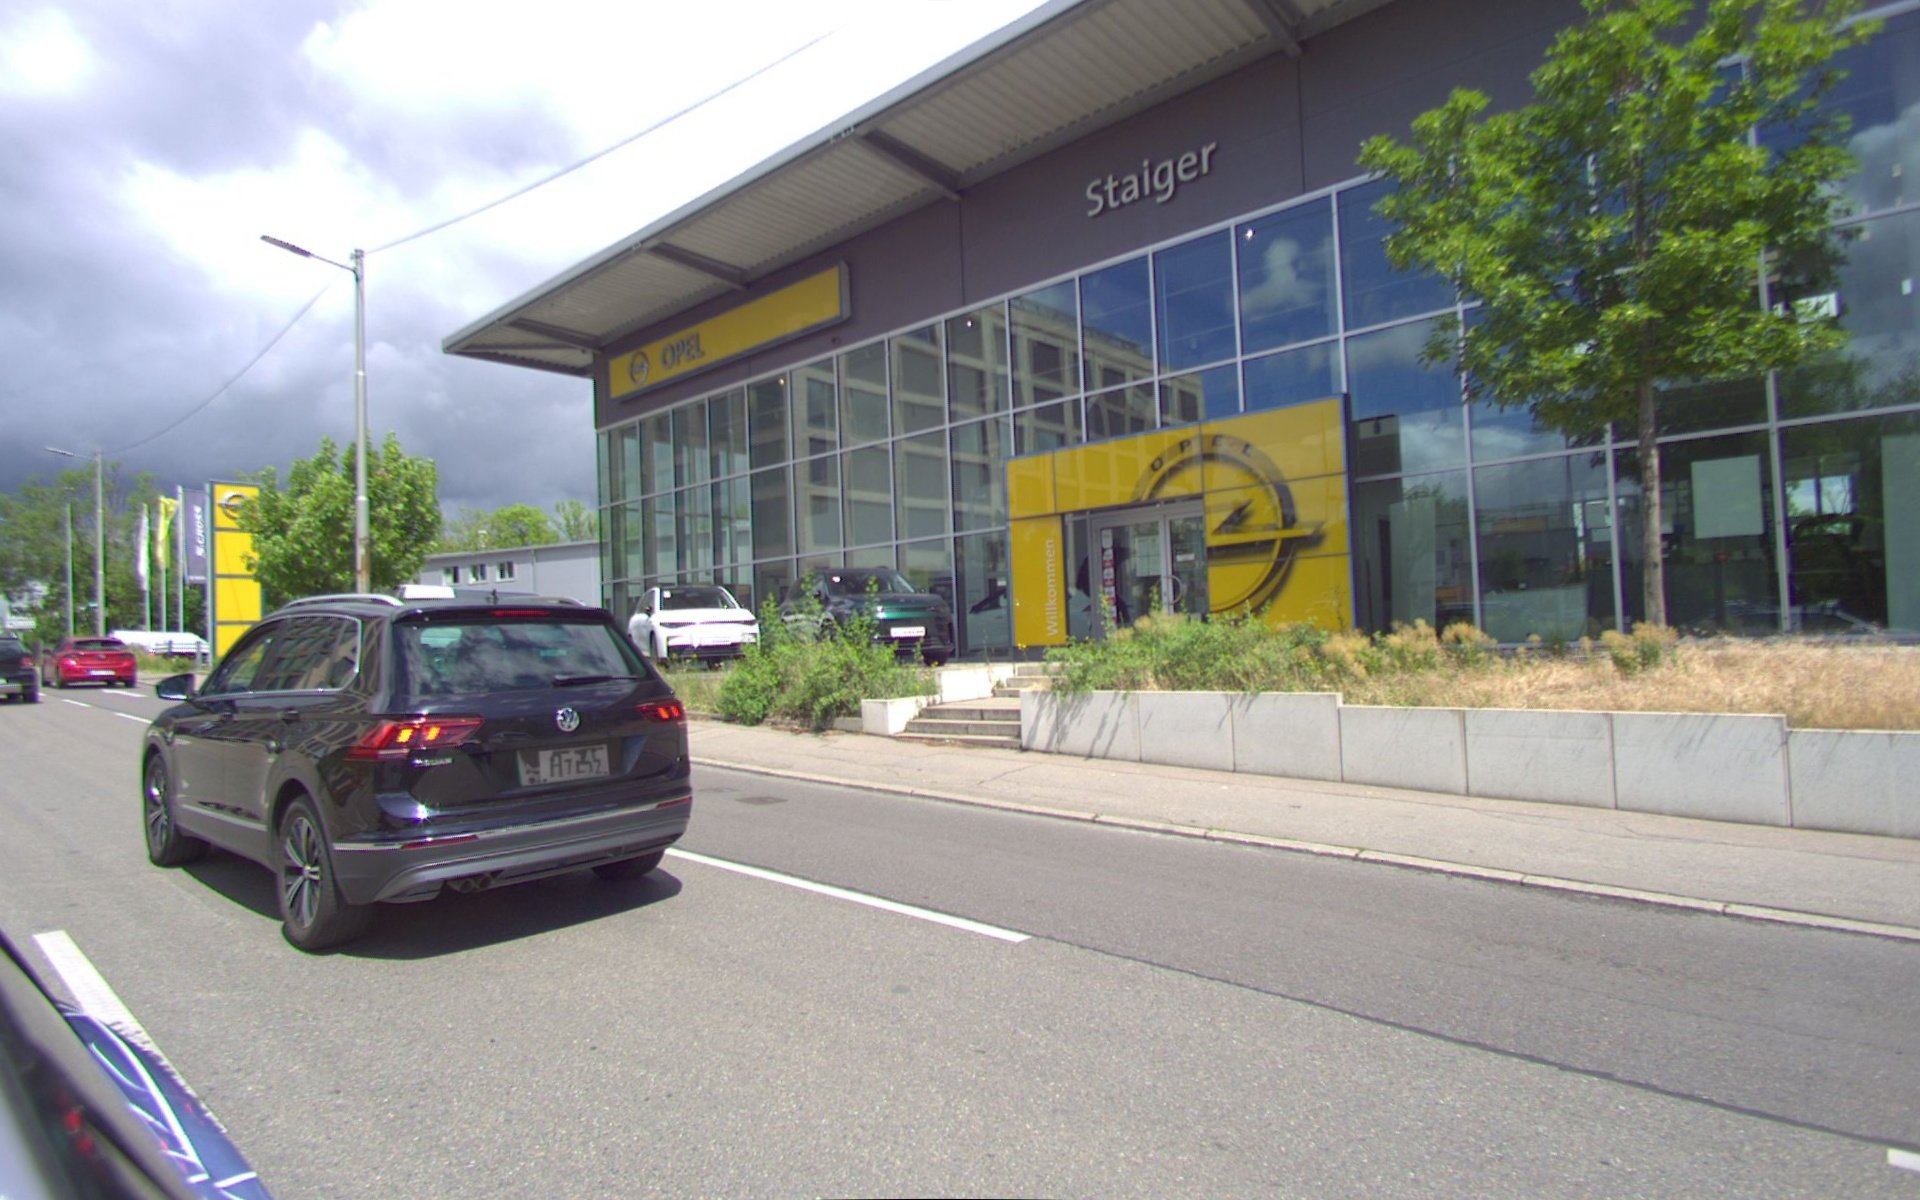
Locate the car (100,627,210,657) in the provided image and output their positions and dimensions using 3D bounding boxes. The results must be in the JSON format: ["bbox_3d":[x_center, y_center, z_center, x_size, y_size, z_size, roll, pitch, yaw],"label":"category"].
[{"bbox_3d":[-42.641,2.200,53.679,2.093,1.493,4.199,-2,-2,39],"label":"car"}]

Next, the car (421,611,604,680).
[{"bbox_3d":[-11.488,1.141,26.232,1.792,1.625,4.063,-1,-2,32],"label":"car"}]

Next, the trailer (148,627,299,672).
[{"bbox_3d":[-31.053,2.051,42.798,2.092,1.765,4.776,-2,-2,37],"label":"trailer"}]

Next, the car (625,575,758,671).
[{"bbox_3d":[-5.224,0.431,19.344,1.767,1.625,4.122,0,-1,-25],"label":"car"}]

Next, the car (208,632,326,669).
[{"bbox_3d":[-27.905,2.009,40.822,1.814,1.420,3.621,-2,-2,42],"label":"car"}]

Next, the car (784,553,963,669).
[{"bbox_3d":[-1.543,0.214,16.375,1.790,1.625,4.122,0,-2,-21],"label":"car"}]

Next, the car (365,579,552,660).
[{"bbox_3d":[-14.738,0.563,29.935,2.177,2.211,4.475,-1,-1,39],"label":"car"}]

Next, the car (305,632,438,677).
[{"bbox_3d":[-21.330,1.931,36.789,1.559,1.539,3.897,-2,-2,38],"label":"car"}]

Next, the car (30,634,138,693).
[{"bbox_3d":[-24.743,1.735,28.556,3.749,1.515,1.709,-2,-2,40],"label":"car"}]

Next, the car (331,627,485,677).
[{"bbox_3d":[-19.396,1.781,35.713,1.923,1.625,4.358,-2,-2,39],"label":"car"}]

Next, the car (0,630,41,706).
[{"bbox_3d":[-20.881,1.420,21.376,3.435,1.515,1.709,-2,-2,40],"label":"car"}]

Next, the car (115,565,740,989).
[{"bbox_3d":[-3.292,0.729,5.890,4.105,1.625,1.774,-2,-2,39],"label":"car"}]

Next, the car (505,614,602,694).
[{"bbox_3d":[-9.266,1.161,22.873,1.767,1.625,4.122,0,-2,-26],"label":"car"}]
